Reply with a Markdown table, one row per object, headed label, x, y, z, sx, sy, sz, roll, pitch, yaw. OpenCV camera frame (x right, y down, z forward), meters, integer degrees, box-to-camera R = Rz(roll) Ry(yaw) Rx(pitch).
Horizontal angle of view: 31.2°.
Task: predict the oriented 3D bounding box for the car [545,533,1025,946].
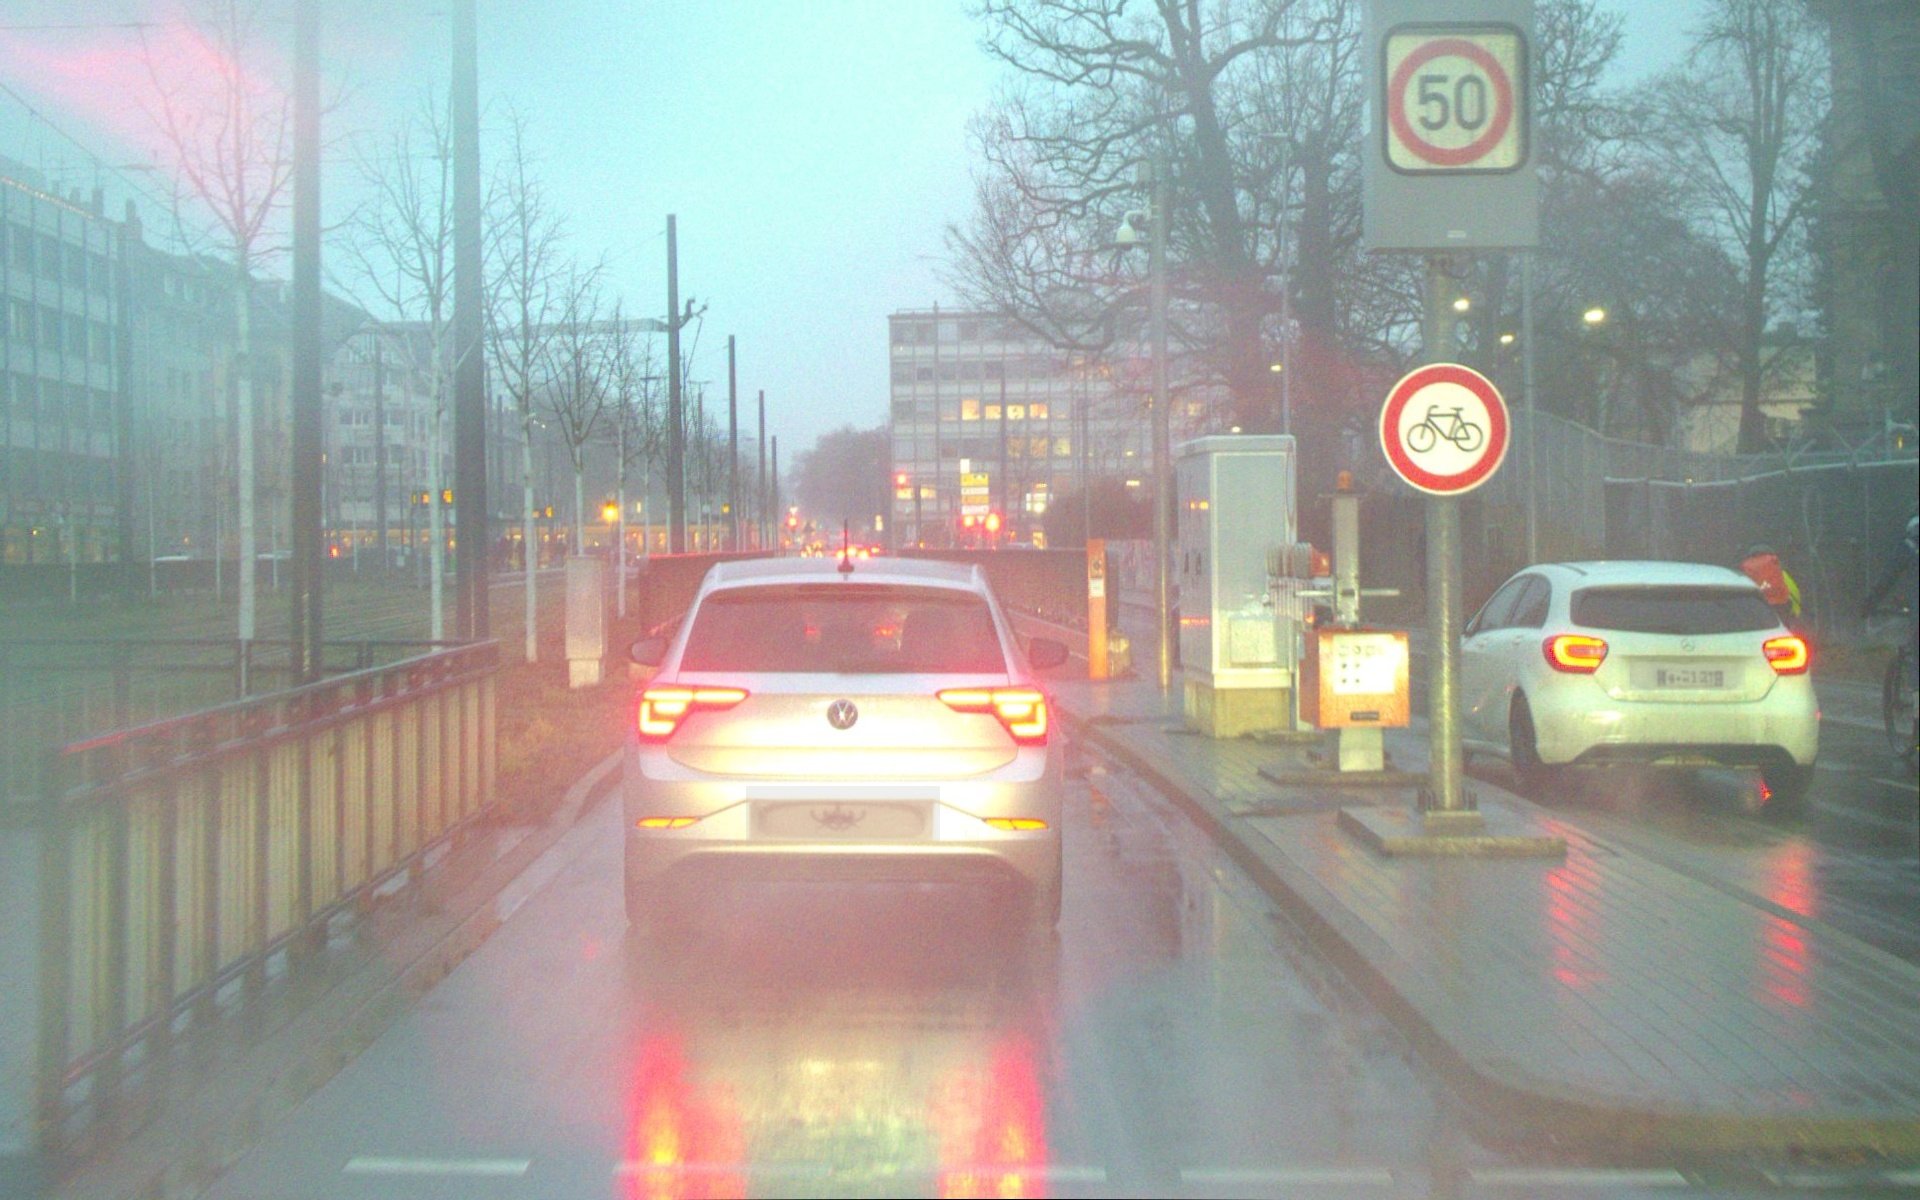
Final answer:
| label | x | y | z | sx | sy | sz | roll | pitch | yaw |
| --- | --- | --- | --- | --- | --- | --- | --- | --- | --- |
| car | -0.654 | 0.507 | 14.541 | 1.722 | 1.474 | 4.000 | 1 | 0 | 0 |

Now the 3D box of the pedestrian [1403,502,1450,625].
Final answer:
| label | x | y | z | sx | sy | sz | roll | pitch | yaw |
| --- | --- | --- | --- | --- | --- | --- | --- | --- | --- |
| pedestrian | 7.206 | -0.571 | 53.158 | 0.531 | 1.873 | 0.901 | -1 | 1 | -3 |

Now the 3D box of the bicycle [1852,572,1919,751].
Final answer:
| label | x | y | z | sx | sy | sz | roll | pitch | yaw |
| --- | --- | --- | --- | --- | --- | --- | --- | --- | --- |
| bicycle | 6.656 | 0.419 | 23.596 | 0.411 | 1.181 | 2.029 | -1 | 1 | -4 |

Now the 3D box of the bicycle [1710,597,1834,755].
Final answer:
| label | x | y | z | sx | sy | sz | roll | pitch | yaw |
| --- | --- | --- | --- | --- | --- | --- | --- | --- | --- |
| bicycle | 6.508 | 0.589 | 27.621 | 0.411 | 1.181 | 1.949 | -1 | 1 | -4 |

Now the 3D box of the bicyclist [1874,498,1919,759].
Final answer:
| label | x | y | z | sx | sy | sz | roll | pitch | yaw |
| --- | --- | --- | --- | --- | --- | --- | --- | --- | --- |
| bicyclist | 6.676 | 0.180 | 23.633 | 0.500 | 1.761 | 0.837 | -1 | 1 | -4 |

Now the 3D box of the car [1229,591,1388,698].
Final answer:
| label | x | y | z | sx | sy | sz | roll | pitch | yaw |
| --- | --- | --- | --- | --- | --- | --- | --- | --- | --- |
| car | 4.543 | 0.554 | 45.270 | 1.623 | 1.295 | 4.000 | 1 | 0 | 0 |

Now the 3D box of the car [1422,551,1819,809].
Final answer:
| label | x | y | z | sx | sy | sz | roll | pitch | yaw |
| --- | --- | --- | --- | --- | --- | --- | --- | --- | --- |
| car | 4.127 | 0.451 | 22.074 | 1.722 | 1.474 | 4.000 | 1 | 0 | 0 |

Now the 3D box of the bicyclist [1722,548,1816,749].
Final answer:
| label | x | y | z | sx | sy | sz | roll | pitch | yaw |
| --- | --- | --- | --- | --- | --- | --- | --- | --- | --- |
| bicyclist | 6.521 | 0.377 | 27.718 | 0.500 | 1.586 | 0.837 | -1 | 1 | -4 |
